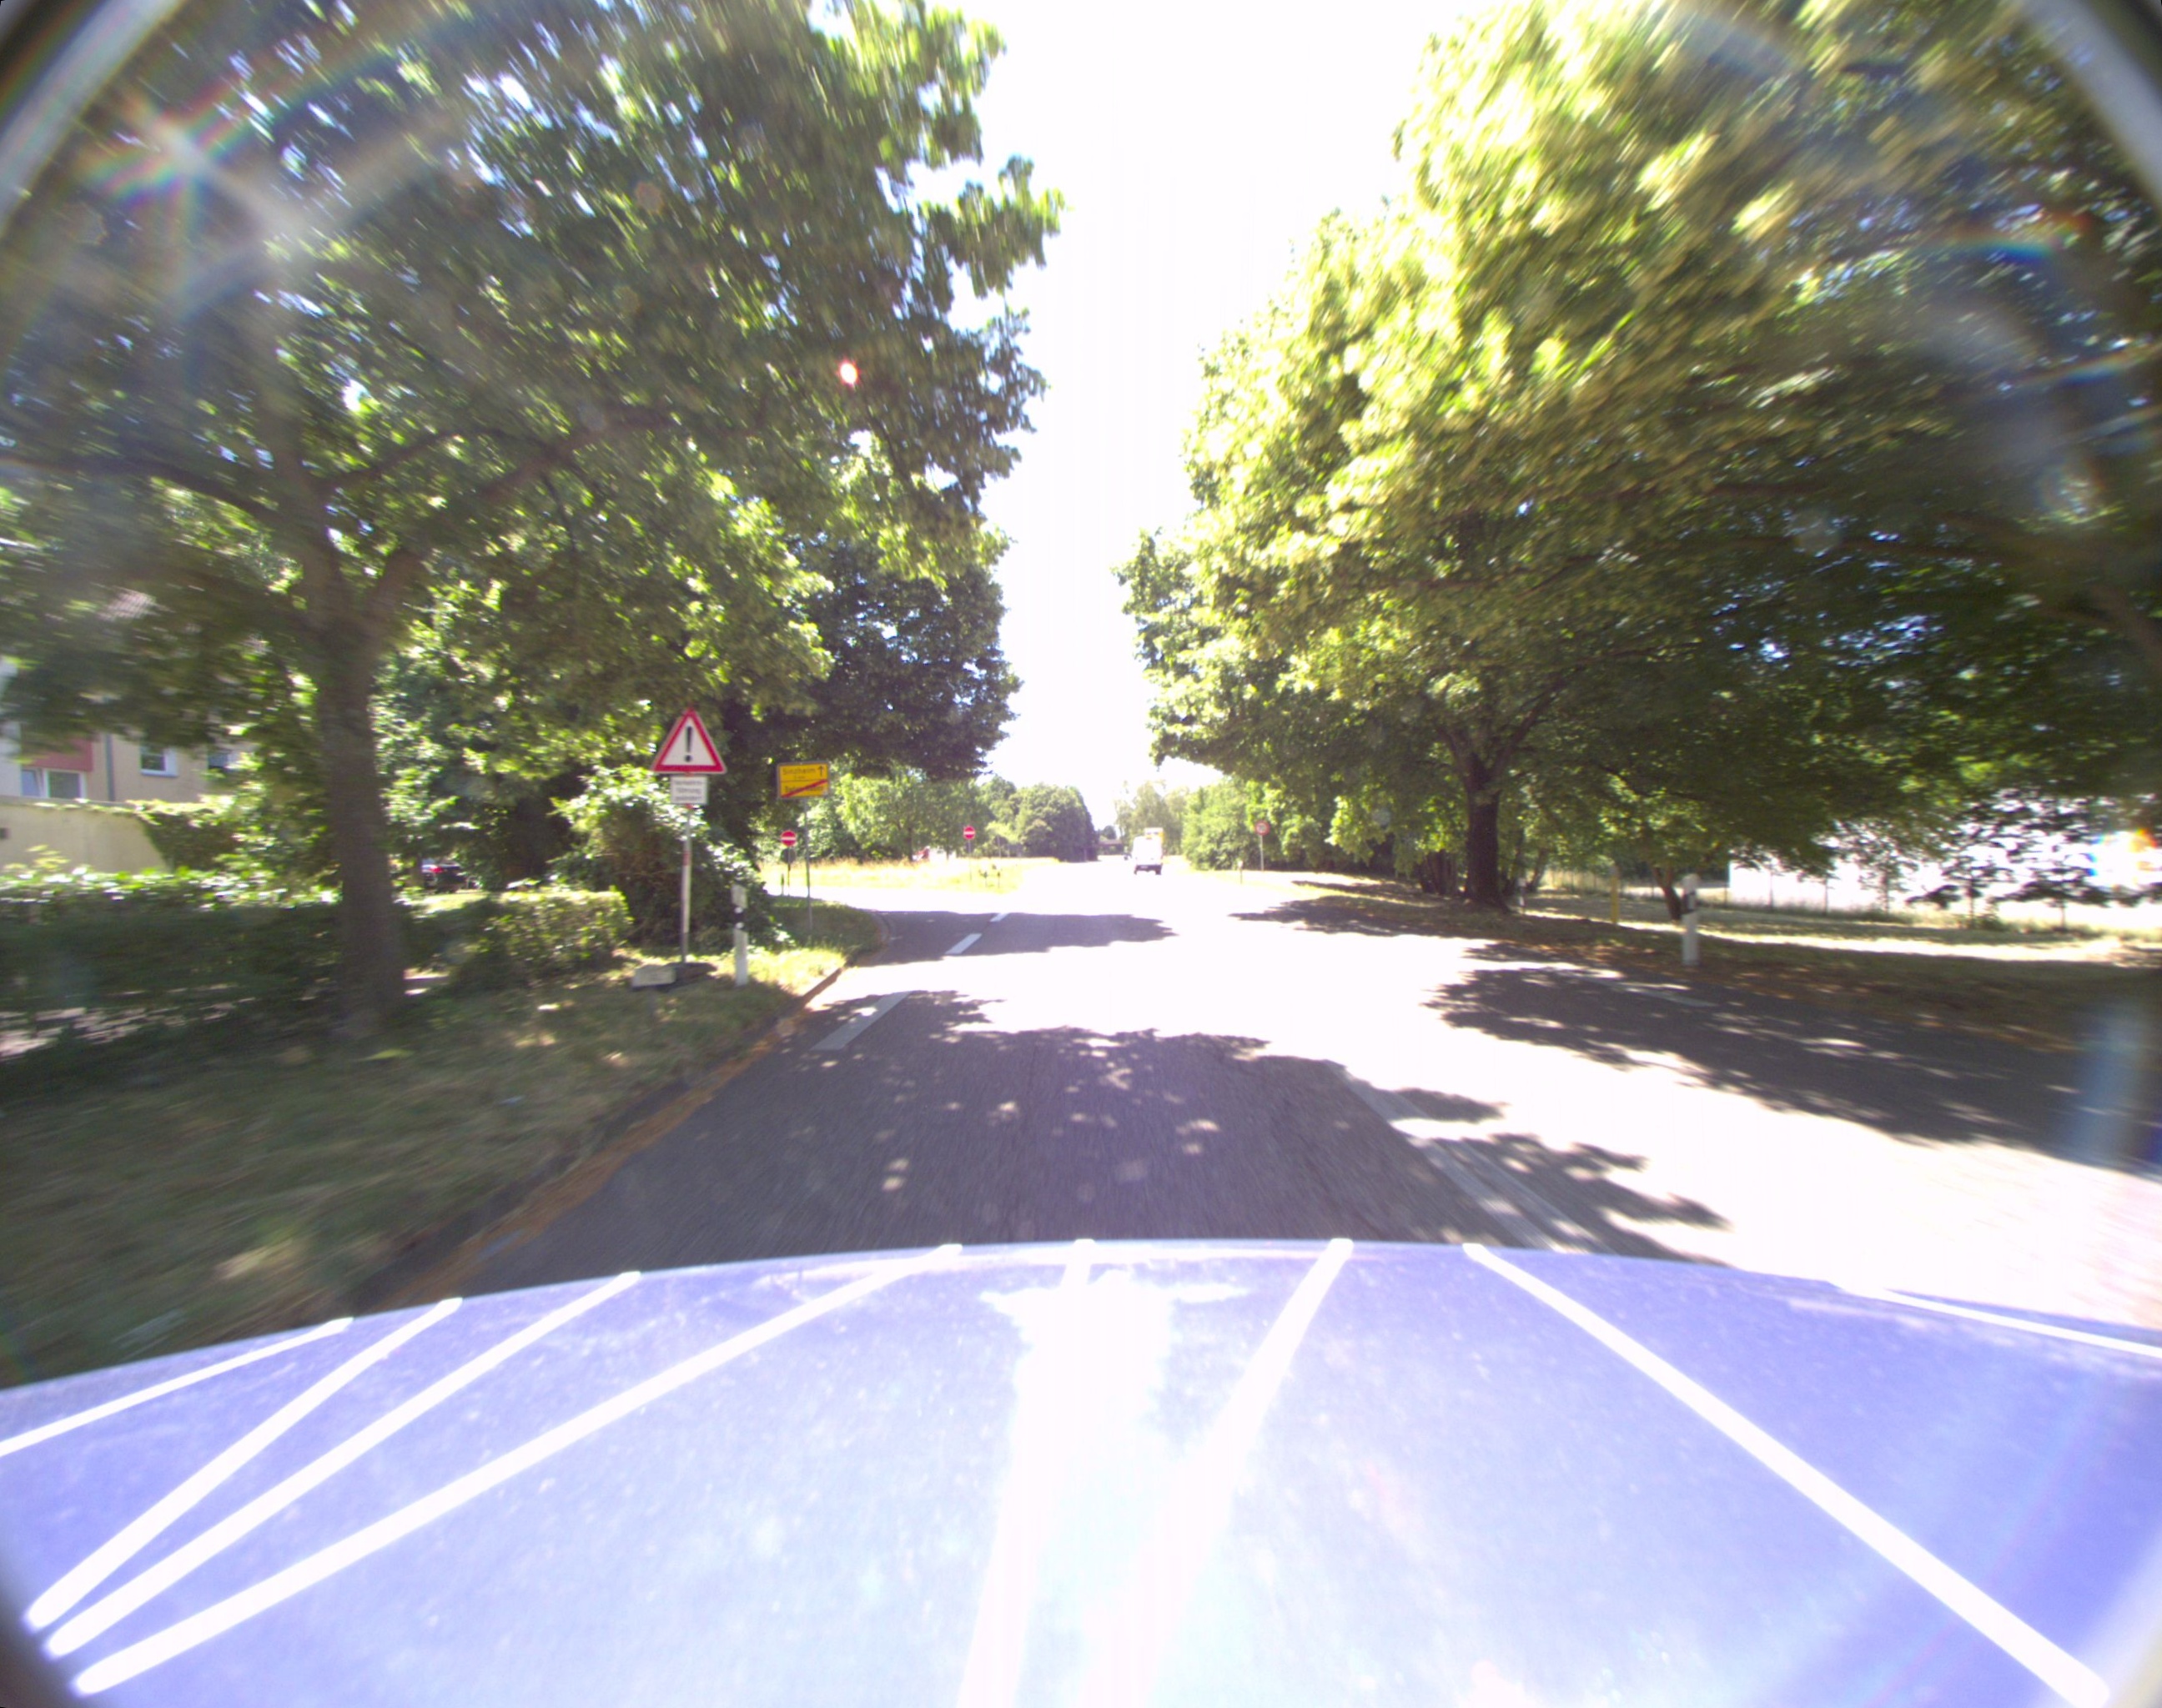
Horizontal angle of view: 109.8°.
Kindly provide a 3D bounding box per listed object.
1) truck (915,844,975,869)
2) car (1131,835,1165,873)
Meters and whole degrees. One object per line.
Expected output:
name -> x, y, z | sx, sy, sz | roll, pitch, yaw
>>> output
truck -> -16.634, 0.262, 93.276 | 2.452, 2.927, 6.988 | 0, 1, 44
car -> 4.917, -0.030, 56.701 | 2.078, 2.612, 6.783 | -1, 1, 1
